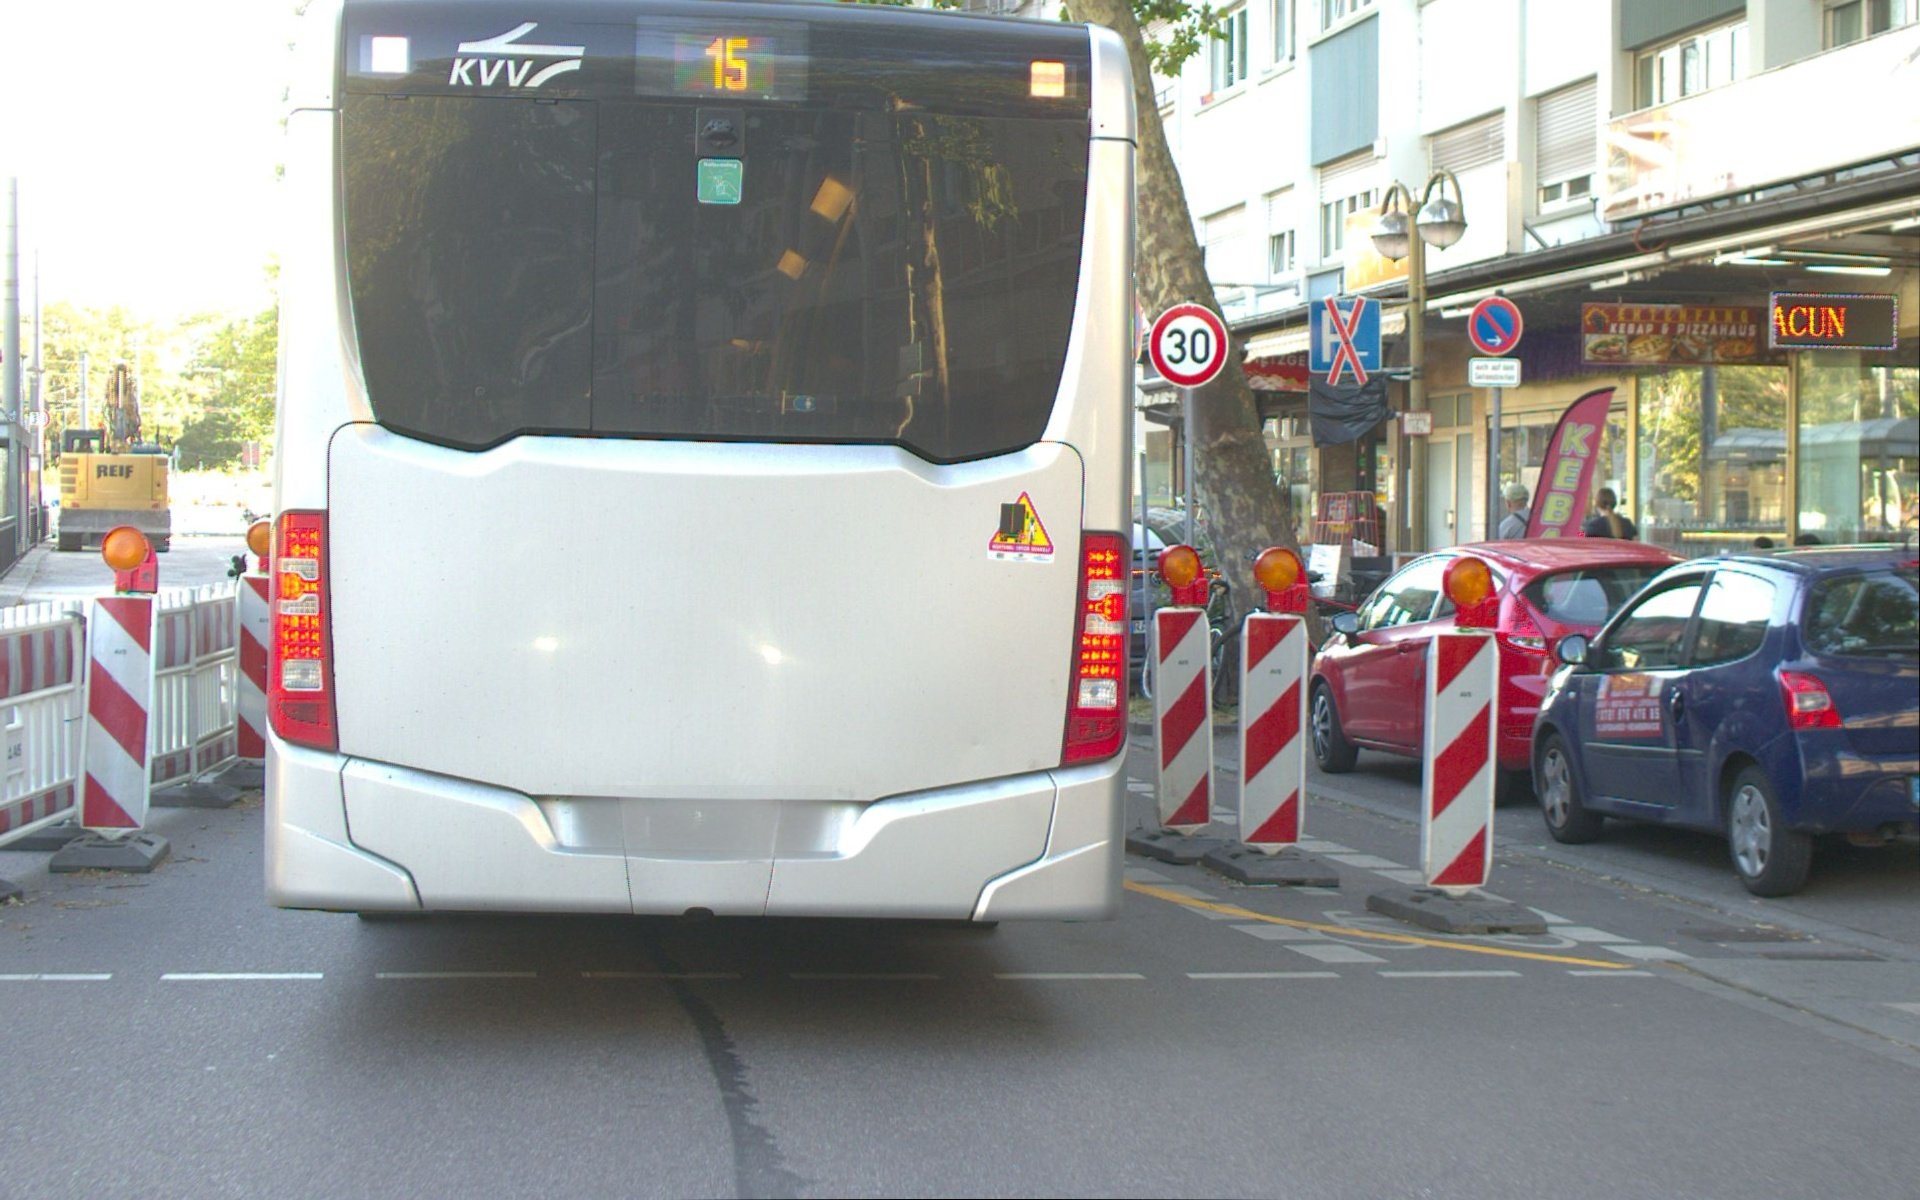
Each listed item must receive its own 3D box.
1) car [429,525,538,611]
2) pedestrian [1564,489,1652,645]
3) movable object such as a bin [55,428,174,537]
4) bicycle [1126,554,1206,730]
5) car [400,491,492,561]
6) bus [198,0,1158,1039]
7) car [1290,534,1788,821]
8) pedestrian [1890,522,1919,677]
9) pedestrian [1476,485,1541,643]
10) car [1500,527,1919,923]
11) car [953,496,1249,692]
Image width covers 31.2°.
[{"bbox_3d":[-8.517,-0.600,61.699,1.755,1.459,4.001,1,2,-5],"label":"car"},{"bbox_3d":[5.275,-0.273,27.997,0.592,1.252,0.393,0,2,-8],"label":"pedestrian"},{"bbox_3d":[-19.996,-2.779,81.487,2.493,2.468,5.357,0,2,-11],"label":"movable object such as a bin"},{"bbox_3d":[1.530,0.283,25.299,0.507,1.207,2.092,1,2,5],"label":"bicycle"},{"bbox_3d":[-11.136,-1.614,74.283,1.755,1.459,4.001,0,2,-11],"label":"car"},{"bbox_3d":[-1.298,-0.429,14.758,2.657,3.088,10.218,1,1,-6],"label":"bus"},{"bbox_3d":[3.264,0.377,20.014,1.661,1.390,3.414,-3,3,-12],"label":"car"},{"bbox_3d":[7.055,-0.008,25.046,0.387,1.118,0.393,0,2,-10],"label":"pedestrian"},{"bbox_3d":[4.398,-0.294,27.562,0.387,1.252,0.393,0,2,-10],"label":"pedestrian"},{"bbox_3d":[3.905,0.476,15.992,1.661,1.511,3.414,-3,3,-10],"label":"car"},{"bbox_3d":[1.128,-0.103,28.998,1.661,1.463,3.414,-3,3,-12],"label":"car"}]
